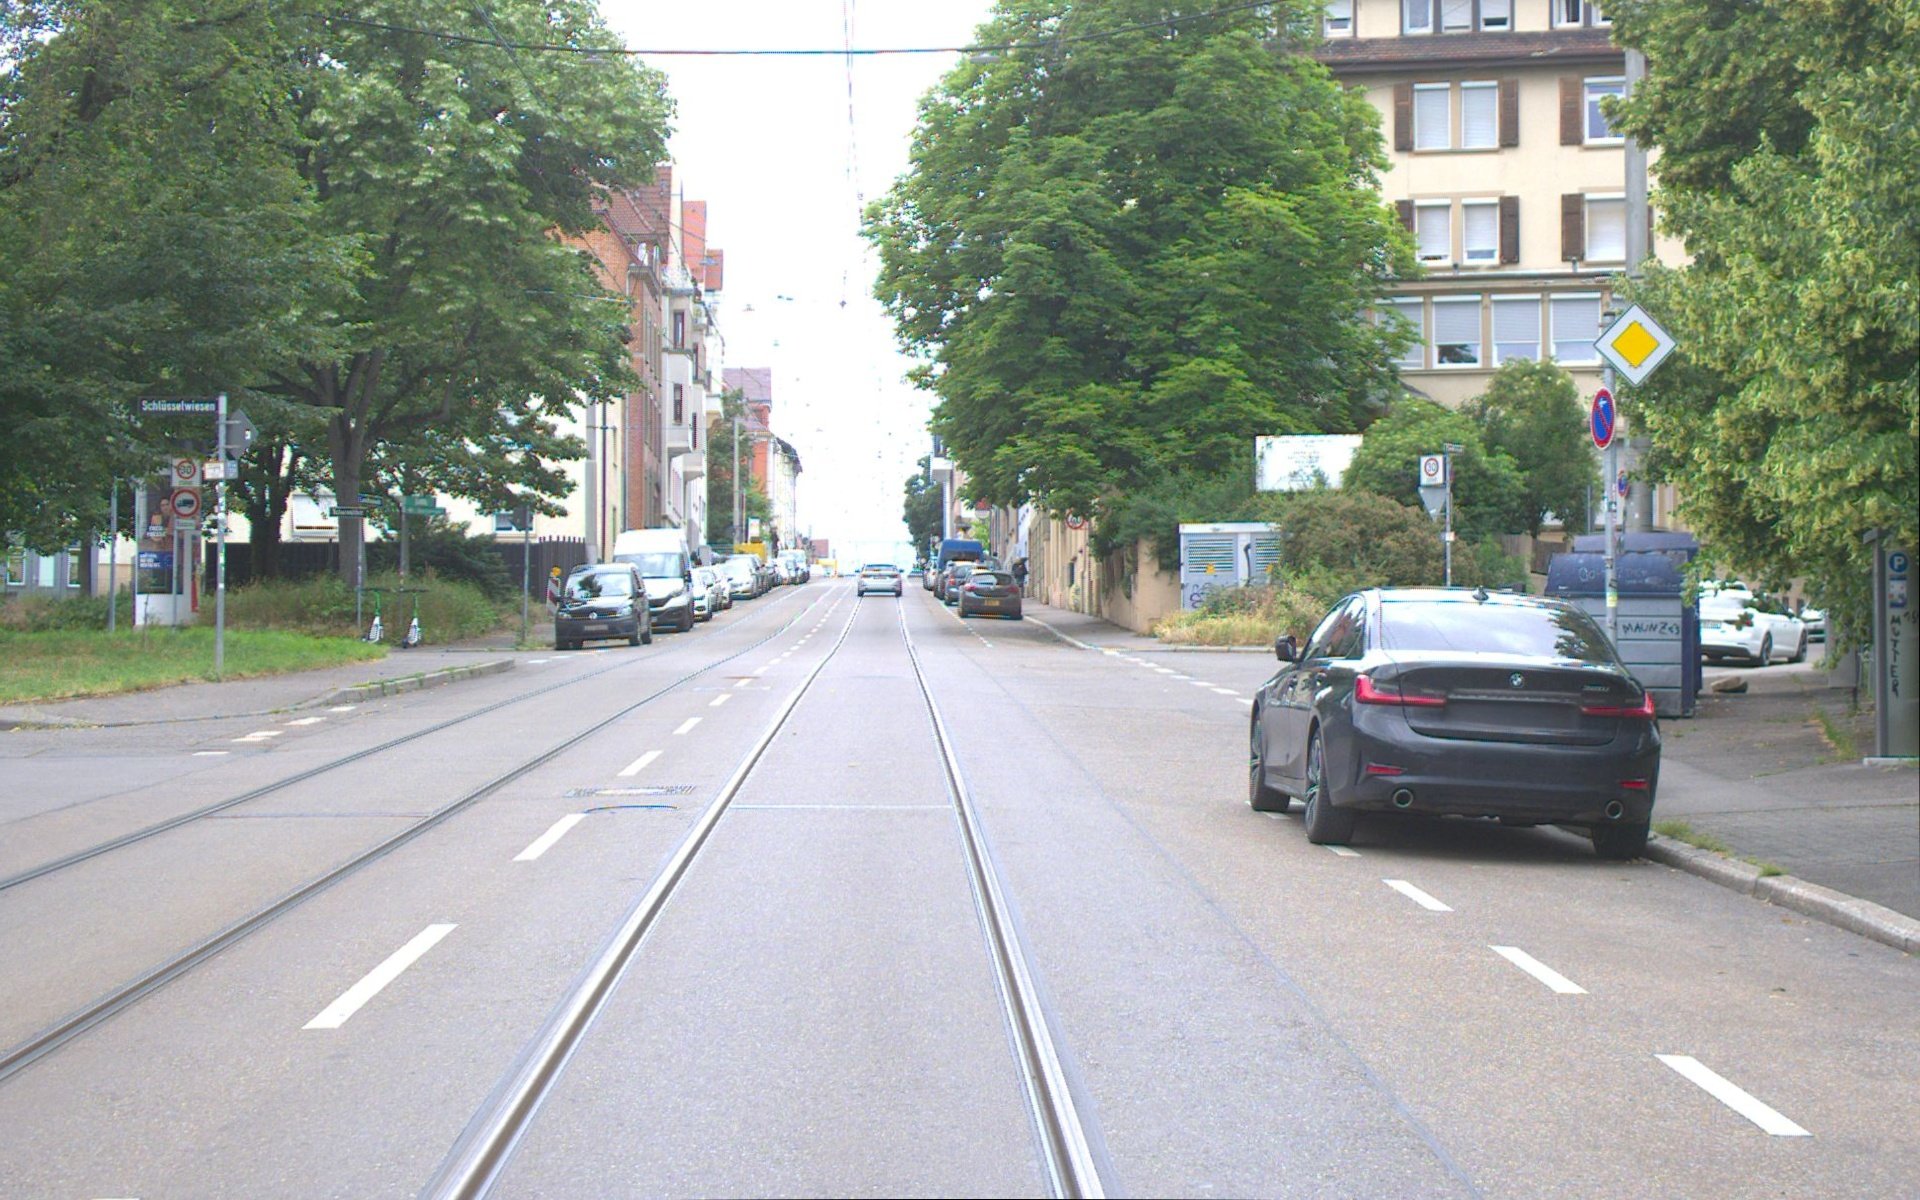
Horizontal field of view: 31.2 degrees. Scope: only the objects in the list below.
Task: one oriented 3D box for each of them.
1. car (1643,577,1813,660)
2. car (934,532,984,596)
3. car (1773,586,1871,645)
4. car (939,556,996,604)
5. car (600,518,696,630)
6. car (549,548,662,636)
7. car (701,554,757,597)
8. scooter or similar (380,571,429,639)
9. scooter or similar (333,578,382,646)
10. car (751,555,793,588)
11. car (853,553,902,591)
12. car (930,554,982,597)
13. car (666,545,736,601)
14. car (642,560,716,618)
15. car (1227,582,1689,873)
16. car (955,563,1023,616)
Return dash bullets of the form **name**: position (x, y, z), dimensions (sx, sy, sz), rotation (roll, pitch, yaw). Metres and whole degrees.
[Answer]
- **car**: position (14.414, 0.353, 64.344), dimensions (1.996, 1.474, 4.457), rotation (1, 0, 28)
- **car**: position (-0.066, -1.460, 141.712), dimensions (1.993, 2.565, 4.705), rotation (0, 0, -1)
- **car**: position (24.192, 0.439, 96.384), dimensions (1.996, 1.612, 3.995), rotation (1, 0, 24)
- **car**: position (0.248, -0.710, 124.392), dimensions (1.993, 1.711, 4.000), rotation (0, 0, -1)
- **car**: position (-7.977, -0.650, 88.390), dimensions (2.230, 2.755, 5.800), rotation (1, 0, -3)
- **car**: position (-7.588, -0.161, 73.903), dimensions (1.993, 1.802, 4.000), rotation (1, 0, 0)
- **car**: position (-8.874, -0.928, 132.220), dimensions (1.924, 1.596, 4.000), rotation (1, 0, -1)
- **scooter or similar**: position (-11.145, 0.105, 69.003), dimensions (0.691, 1.334, 1.639), rotation (1, 0, 0)
- **scooter or similar**: position (-12.102, 0.241, 69.092), dimensions (0.691, 1.334, 1.639), rotation (1, 0, 0)
- **car**: position (-9.378, -1.428, 171.745), dimensions (1.993, 1.596, 4.000), rotation (1, 0, -1)
- **car**: position (-3.415, -1.145, 142.537), dimensions (1.993, 1.493, 4.312), rotation (1, 0, -2)
- **car**: position (-0.168, -0.951, 136.208), dimensions (1.993, 1.645, 4.000), rotation (0, 0, -1)
- **car**: position (-8.658, -0.884, 115.391), dimensions (1.993, 1.806, 4.312), rotation (1, 0, 0)
- **car**: position (-8.047, -0.302, 98.707), dimensions (1.993, 1.595, 4.312), rotation (1, 0, -3)
- **car**: position (2.755, 0.645, 20.131), dimensions (1.828, 1.425, 4.848), rotation (2, 0, -2)
- **car**: position (0.849, -0.316, 103.058), dimensions (1.993, 1.525, 4.312), rotation (1, 0, 0)
